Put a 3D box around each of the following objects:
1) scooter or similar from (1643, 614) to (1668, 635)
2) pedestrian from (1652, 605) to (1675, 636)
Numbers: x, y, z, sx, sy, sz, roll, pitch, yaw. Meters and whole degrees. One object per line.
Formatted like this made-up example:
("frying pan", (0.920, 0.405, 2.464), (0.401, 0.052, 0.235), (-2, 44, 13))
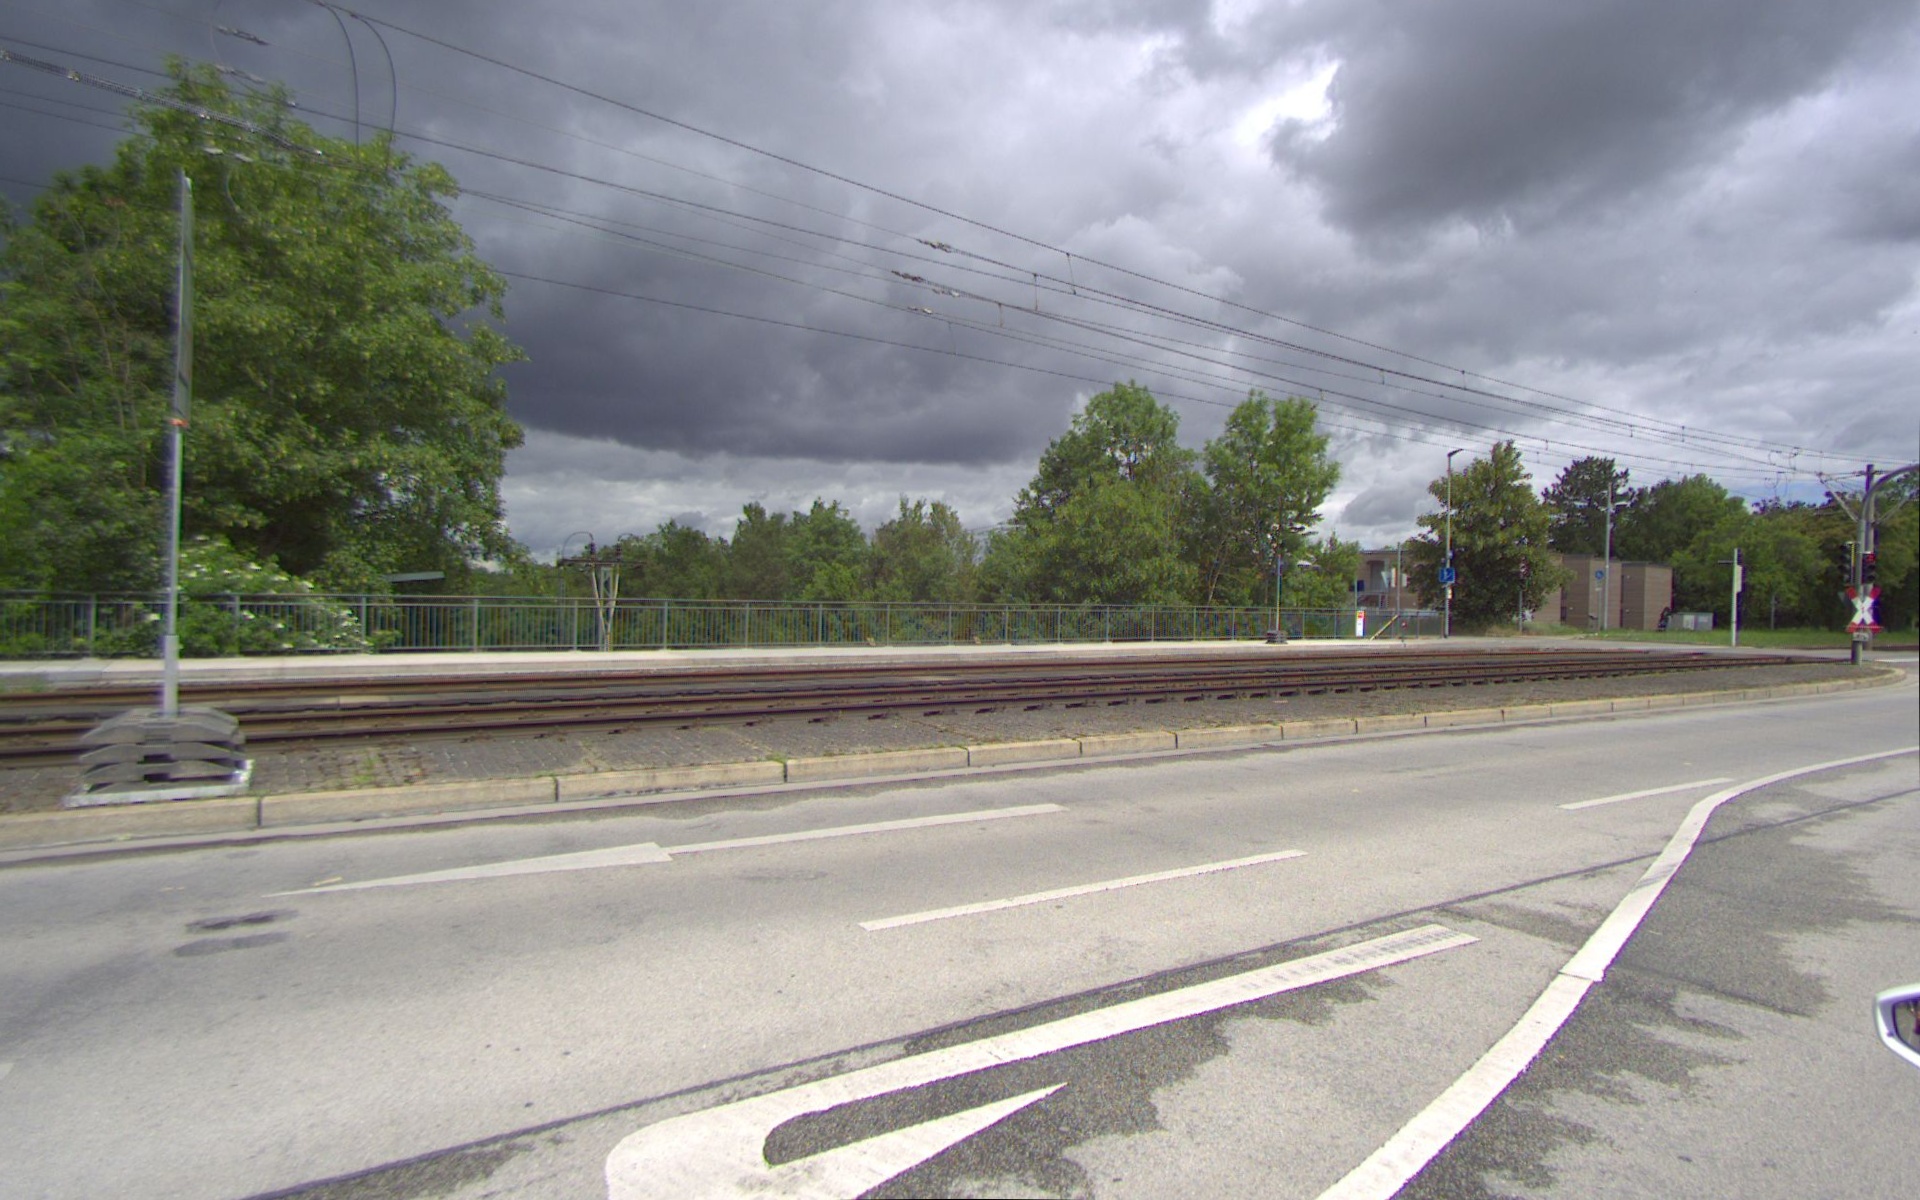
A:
("scooter or similar", (41.678, 1.491, 60.164), (0.961, 1.200, 0.885), (1, 2, -32))
("pedestrian", (42.416, 1.256, 60.603), (0.799, 1.836, 0.797), (1, 2, -30))
